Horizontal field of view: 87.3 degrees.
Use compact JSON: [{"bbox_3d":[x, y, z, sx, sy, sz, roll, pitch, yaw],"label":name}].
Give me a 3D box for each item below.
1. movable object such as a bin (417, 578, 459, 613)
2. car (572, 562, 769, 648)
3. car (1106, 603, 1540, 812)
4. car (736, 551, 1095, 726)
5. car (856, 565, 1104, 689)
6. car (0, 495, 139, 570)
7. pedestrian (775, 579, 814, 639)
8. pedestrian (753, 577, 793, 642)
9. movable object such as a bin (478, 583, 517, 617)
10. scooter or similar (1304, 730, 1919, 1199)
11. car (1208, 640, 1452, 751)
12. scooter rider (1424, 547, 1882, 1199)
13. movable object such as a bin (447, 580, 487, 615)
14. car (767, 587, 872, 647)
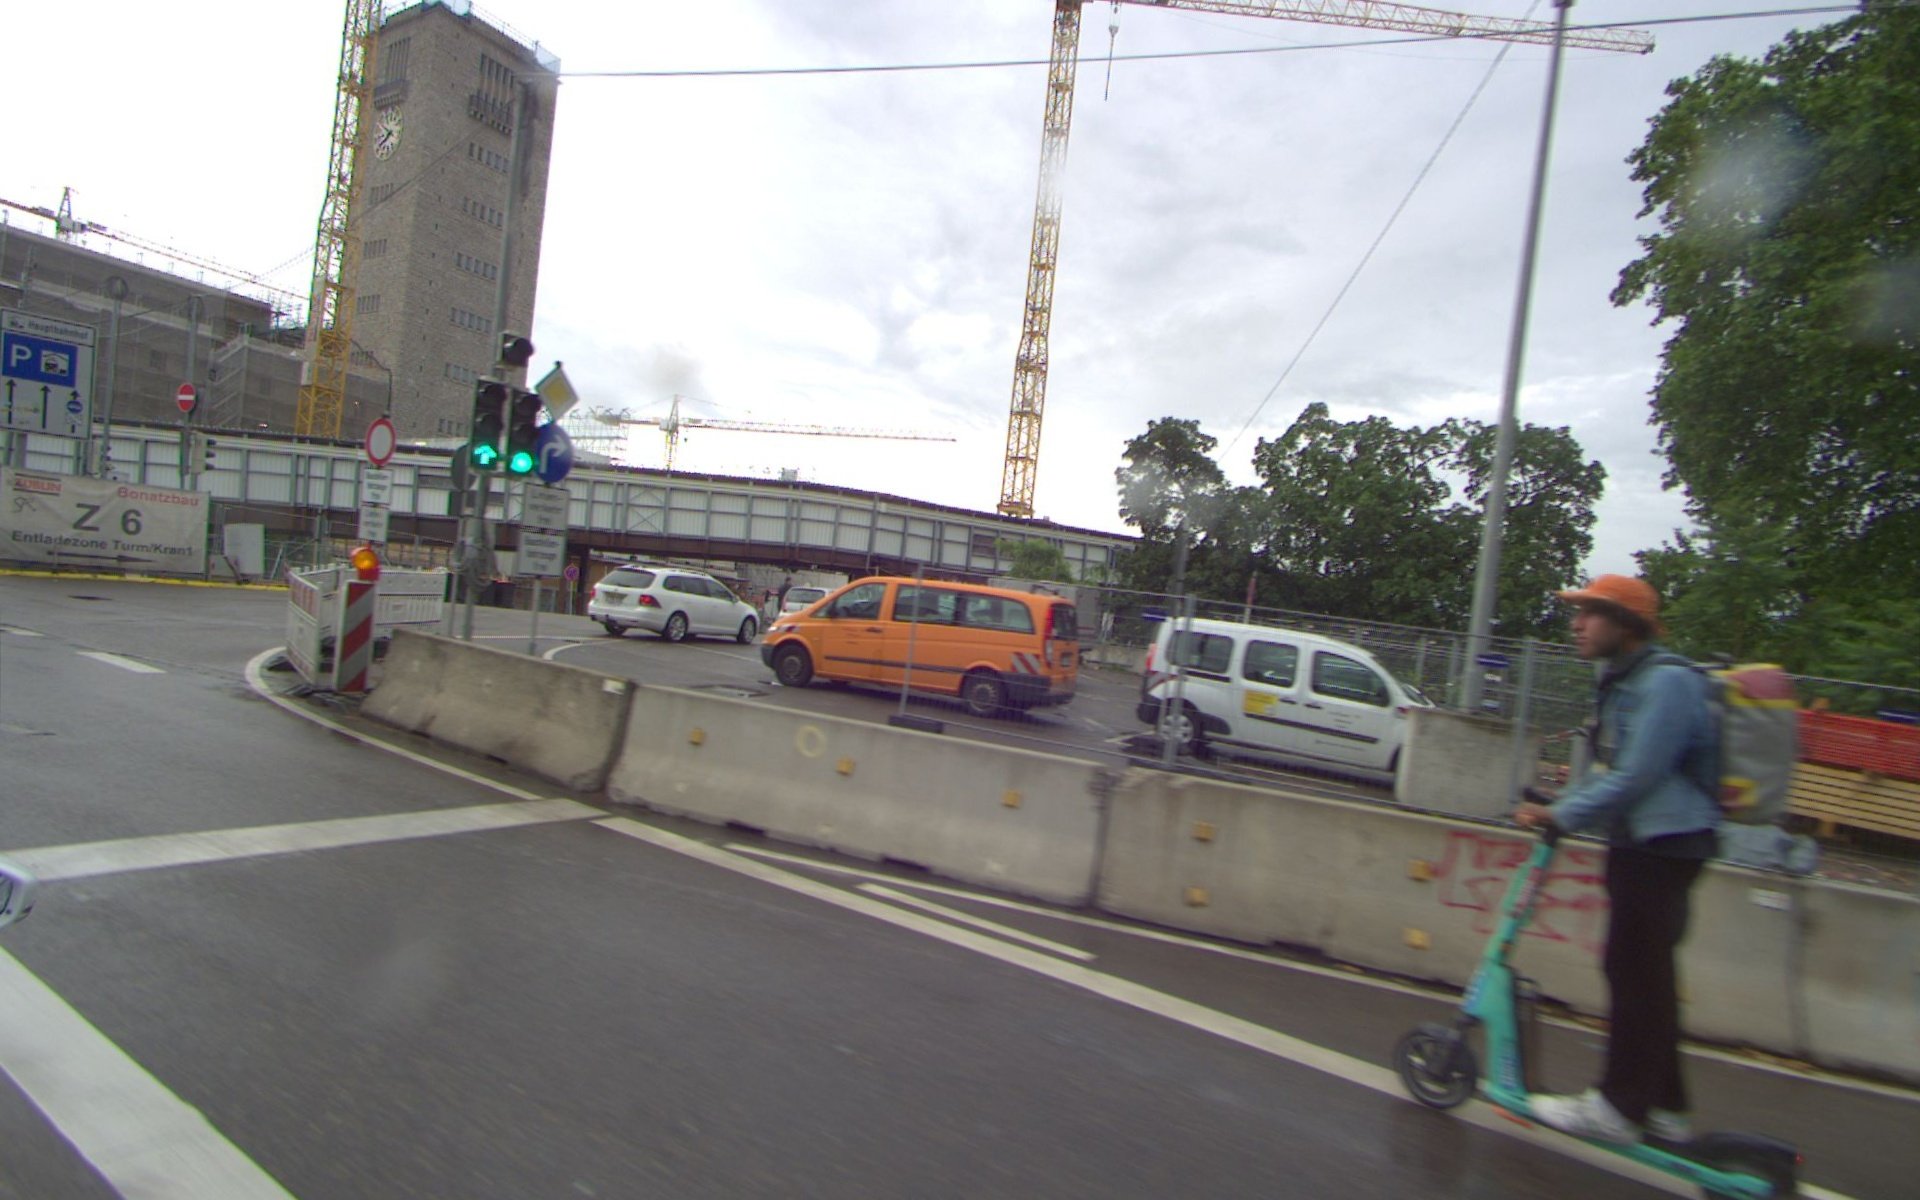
[{"bbox_3d":[-17.753,-0.139,34.225,0.736,1.115,0.990,4,0,34],"label":"movable object such as a bin"},{"bbox_3d":[-6.120,0.172,21.804,1.781,1.470,4.214,7,0,22],"label":"car"},{"bbox_3d":[4.742,1.321,13.546,4.996,1.828,1.852,8,-1,26],"label":"car"},{"bbox_3d":[-0.688,0.551,15.671,5.067,1.998,1.919,6,-1,21],"label":"car"},{"bbox_3d":[0.489,0.624,24.610,5.501,2.343,2.050,6,1,19],"label":"car"},{"bbox_3d":[-34.010,-2.568,37.285,4.806,2.156,2.347,8,-2,-16],"label":"car"},{"bbox_3d":[-4.744,0.259,28.864,0.702,1.657,0.810,3,0,-40],"label":"pedestrian"},{"bbox_3d":[-5.273,0.271,28.387,0.702,1.756,0.815,3,0,-40],"label":"pedestrian"},{"bbox_3d":[-16.579,-0.002,36.039,0.719,1.115,0.990,4,0,34],"label":"movable object such as a bin"},{"bbox_3d":[2.085,1.218,3.275,1.638,1.335,0.599,6,-1,27],"label":"scooter or similar"},{"bbox_3d":[6.728,1.665,18.470,3.928,1.579,1.764,4,0,23],"label":"car"},{"bbox_3d":[2.147,0.797,3.265,0.980,1.807,0.599,6,-1,27],"label":"scooter rider"},{"bbox_3d":[-17.226,-0.080,35.165,0.719,1.115,0.990,4,0,34],"label":"movable object such as a bin"},{"bbox_3d":[-3.919,0.509,28.497,1.596,1.499,3.354,4,-1,17],"label":"car"}]
